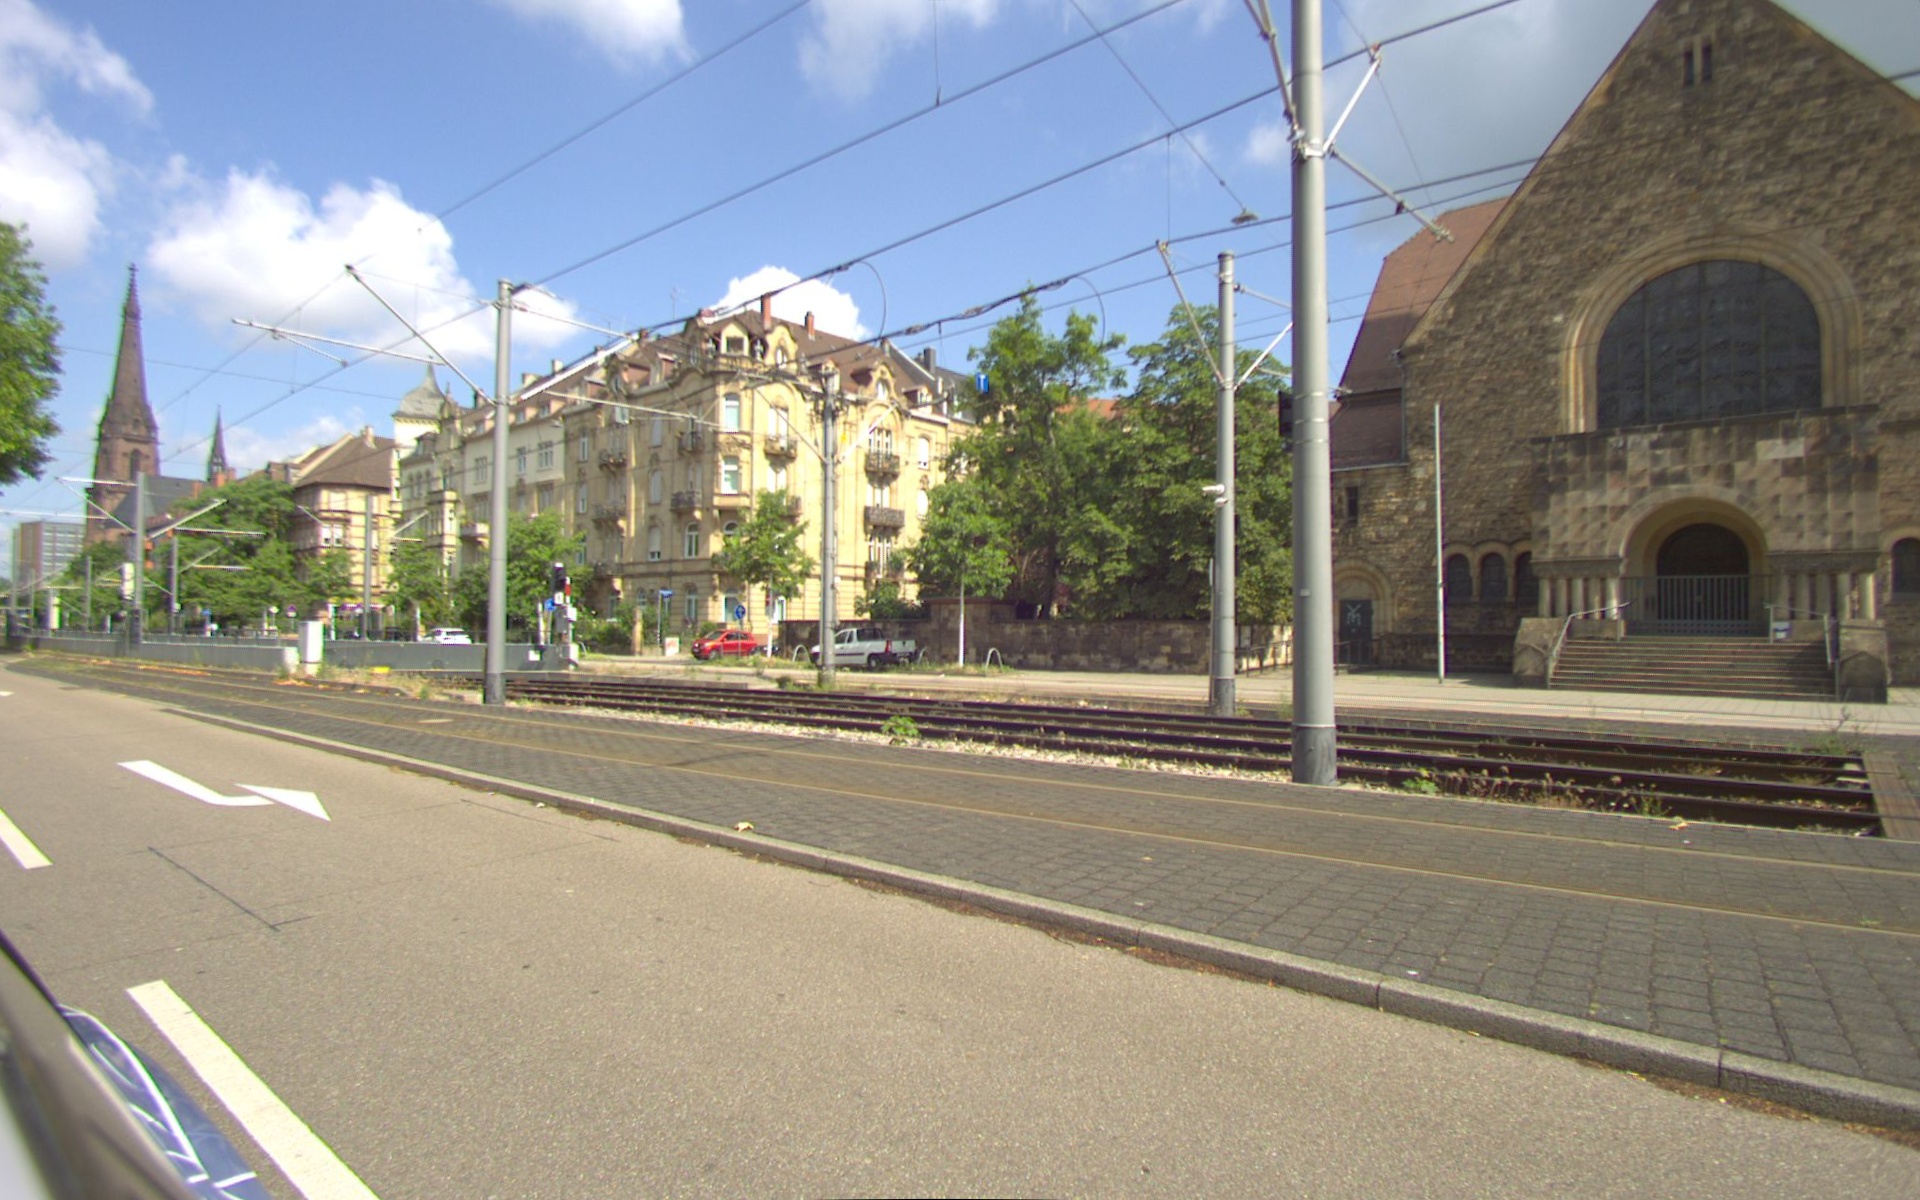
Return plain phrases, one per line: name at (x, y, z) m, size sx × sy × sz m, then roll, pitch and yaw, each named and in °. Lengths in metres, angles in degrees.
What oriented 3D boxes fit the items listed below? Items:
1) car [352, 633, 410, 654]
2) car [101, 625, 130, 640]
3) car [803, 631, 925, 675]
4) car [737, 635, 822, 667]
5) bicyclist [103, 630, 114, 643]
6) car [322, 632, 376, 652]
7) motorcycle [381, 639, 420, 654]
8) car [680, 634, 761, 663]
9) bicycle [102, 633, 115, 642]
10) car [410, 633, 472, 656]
car at (-38.191, 2.826, 66.740) m, size 4.096 × 1.337 × 2.000 m, roll -2°, pitch -3°, yaw 39°
car at (-99.784, 3.850, 119.557) m, size 4.111 × 1.650 × 1.973 m, roll -2°, pitch -3°, yaw 41°
car at (-3.545, 1.908, 37.096) m, size 4.409 × 1.516 × 1.912 m, roll -2°, pitch -3°, yaw 39°
car at (-8.821, 2.481, 49.649) m, size 1.723 × 1.475 × 3.921 m, roll -2°, pitch -3°, yaw 41°
bicyclist at (-94.997, 4.068, 112.895) m, size 1.048 × 1.348 × 0.759 m, roll -2°, pitch -5°, yaw 41°
car at (-42.553, 2.925, 70.442) m, size 4.723 × 1.337 × 1.928 m, roll -2°, pitch -3°, yaw 42°
motorcycle at (-35.915, 2.983, 64.957) m, size 1.416 × 0.949 × 1.743 m, roll -1°, pitch -4°, yaw 39°
car at (-12.733, 2.553, 53.886) m, size 1.933 × 1.475 × 3.738 m, roll -2°, pitch -3°, yaw 44°
bicycle at (-95.160, 4.142, 113.064) m, size 2.140 × 0.986 × 0.767 m, roll -2°, pitch -4°, yaw 42°
car at (-31.352, 2.696, 61.063) m, size 4.308 × 1.338 × 1.734 m, roll -1°, pitch -3°, yaw 39°
